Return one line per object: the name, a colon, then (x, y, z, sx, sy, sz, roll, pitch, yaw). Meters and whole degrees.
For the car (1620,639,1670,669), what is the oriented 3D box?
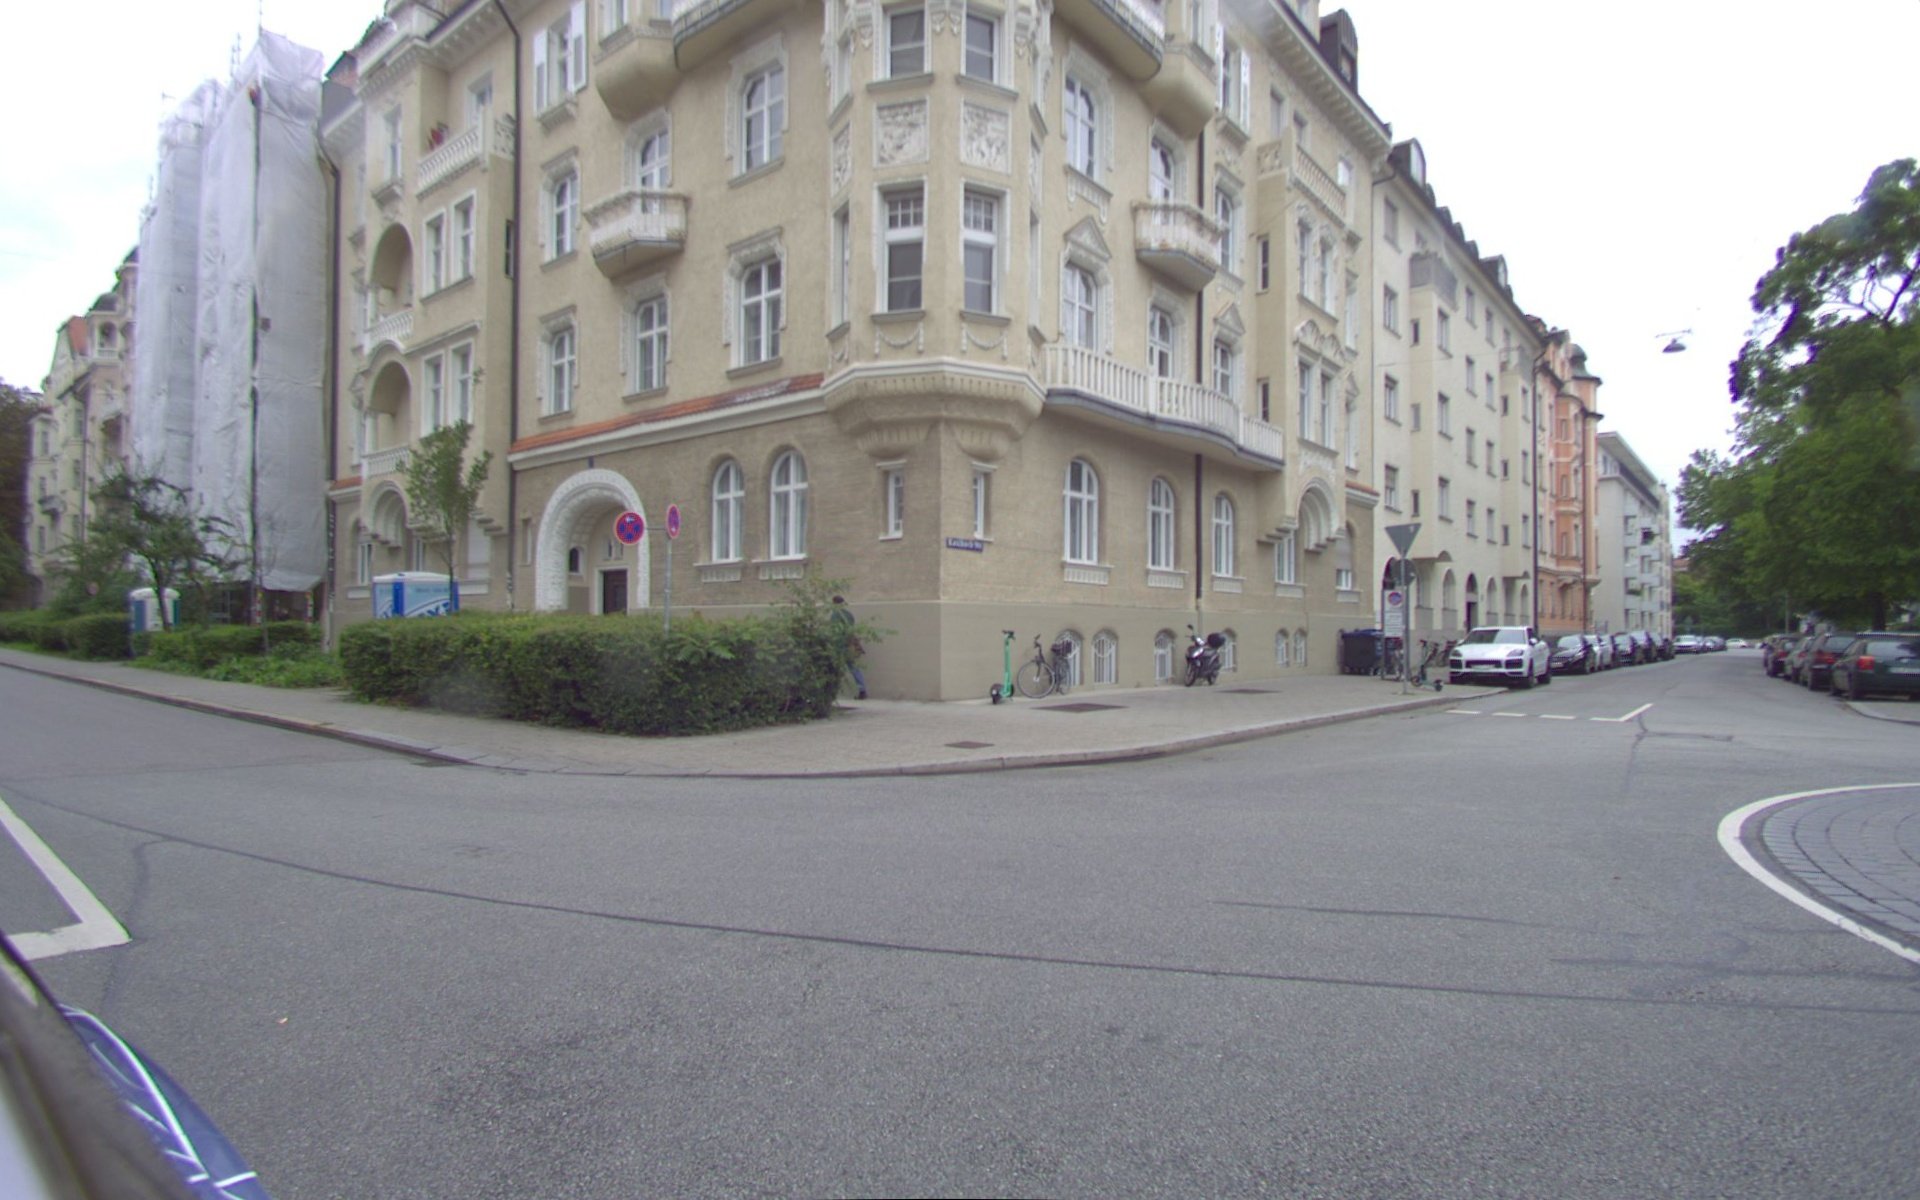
car: (38.419, 2.993, 56.745, 1.998, 1.608, 4.157, -1, -2, 38)

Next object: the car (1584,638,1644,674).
car: (31.086, 2.602, 48.051, 1.998, 1.608, 4.157, -1, -2, 38)

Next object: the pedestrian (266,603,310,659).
pedestrian: (-21.957, 1.012, 33.062, 0.947, 1.765, 0.904, -1, -3, 40)

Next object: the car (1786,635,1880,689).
car: (26.756, 1.848, 31.142, 1.772, 1.530, 3.987, -1, -2, 35)

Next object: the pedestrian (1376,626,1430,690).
pedestrian: (13.057, 1.695, 29.806, 1.131, 1.818, 1.254, -2, -3, 40)

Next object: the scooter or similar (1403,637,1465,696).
scooter or similar: (11.600, 1.605, 24.792, 0.697, 1.405, 1.359, 1, -2, -10)

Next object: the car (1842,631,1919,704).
car: (21.382, 1.473, 22.861, 1.772, 1.530, 3.987, -1, -2, 35)

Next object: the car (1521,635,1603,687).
car: (21.693, 2.142, 36.403, 1.998, 1.704, 4.157, -1, -2, 38)

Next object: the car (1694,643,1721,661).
car: (73.922, 5.127, 100.045, 1.998, 1.608, 4.157, -1, -2, 38)

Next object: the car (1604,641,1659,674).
car: (34.752, 2.939, 52.336, 1.998, 1.608, 4.157, -1, -2, 38)

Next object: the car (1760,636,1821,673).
car: (36.581, 2.372, 44.667, 1.772, 1.530, 3.987, -1, -2, 35)

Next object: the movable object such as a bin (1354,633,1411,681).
movable object such as a bin: (13.427, 1.802, 32.175, 1.344, 1.468, 1.279, -2, -3, 40)

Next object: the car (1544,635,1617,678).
car: (24.709, 2.201, 40.234, 1.998, 1.608, 4.157, -1, -2, 38)

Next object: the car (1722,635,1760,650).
car: (109.213, 5.896, 141.522, 3.998, 2.029, 1.973, -1, -3, 41)

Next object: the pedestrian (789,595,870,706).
pedestrian: (-2.230, 0.852, 17.374, 1.054, 1.824, 0.880, -1, -3, 36)

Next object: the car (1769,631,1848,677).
car: (29.846, 1.859, 35.685, 1.772, 1.530, 3.987, -1, -2, 35)

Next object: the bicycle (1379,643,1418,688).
bicycle: (12.021, 1.775, 27.734, 0.549, 1.158, 1.822, -1, -2, 37)

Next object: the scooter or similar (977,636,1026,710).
scooter or similar: (0.667, 1.179, 16.687, 0.521, 1.175, 1.359, 1, -2, -10)

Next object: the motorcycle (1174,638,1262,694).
motorcycle: (5.915, 1.470, 23.081, 1.006, 1.189, 2.530, -1, -3, 38)

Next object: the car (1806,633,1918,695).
car: (24.170, 1.658, 27.249, 1.772, 1.530, 3.987, -1, -2, 35)

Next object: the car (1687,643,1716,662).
car: (67.996, 4.789, 92.779, 1.998, 1.608, 4.157, -1, -2, 38)

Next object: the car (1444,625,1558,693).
car: (15.177, 1.587, 28.252, 1.998, 1.704, 4.748, -1, -2, 38)

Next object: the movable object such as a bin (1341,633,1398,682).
movable object such as a bin: (12.591, 1.748, 31.139, 1.344, 1.468, 1.147, -2, -3, 40)

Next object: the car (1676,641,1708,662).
car: (61.862, 4.323, 85.475, 1.998, 1.608, 4.157, -1, -2, 38)

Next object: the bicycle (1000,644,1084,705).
bicycle: (1.518, 1.324, 18.351, 0.560, 1.030, 1.858, -1, -3, 39)

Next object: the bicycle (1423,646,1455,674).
bicycle: (18.493, 2.308, 39.063, 0.623, 1.054, 2.187, -1, -3, 38)
